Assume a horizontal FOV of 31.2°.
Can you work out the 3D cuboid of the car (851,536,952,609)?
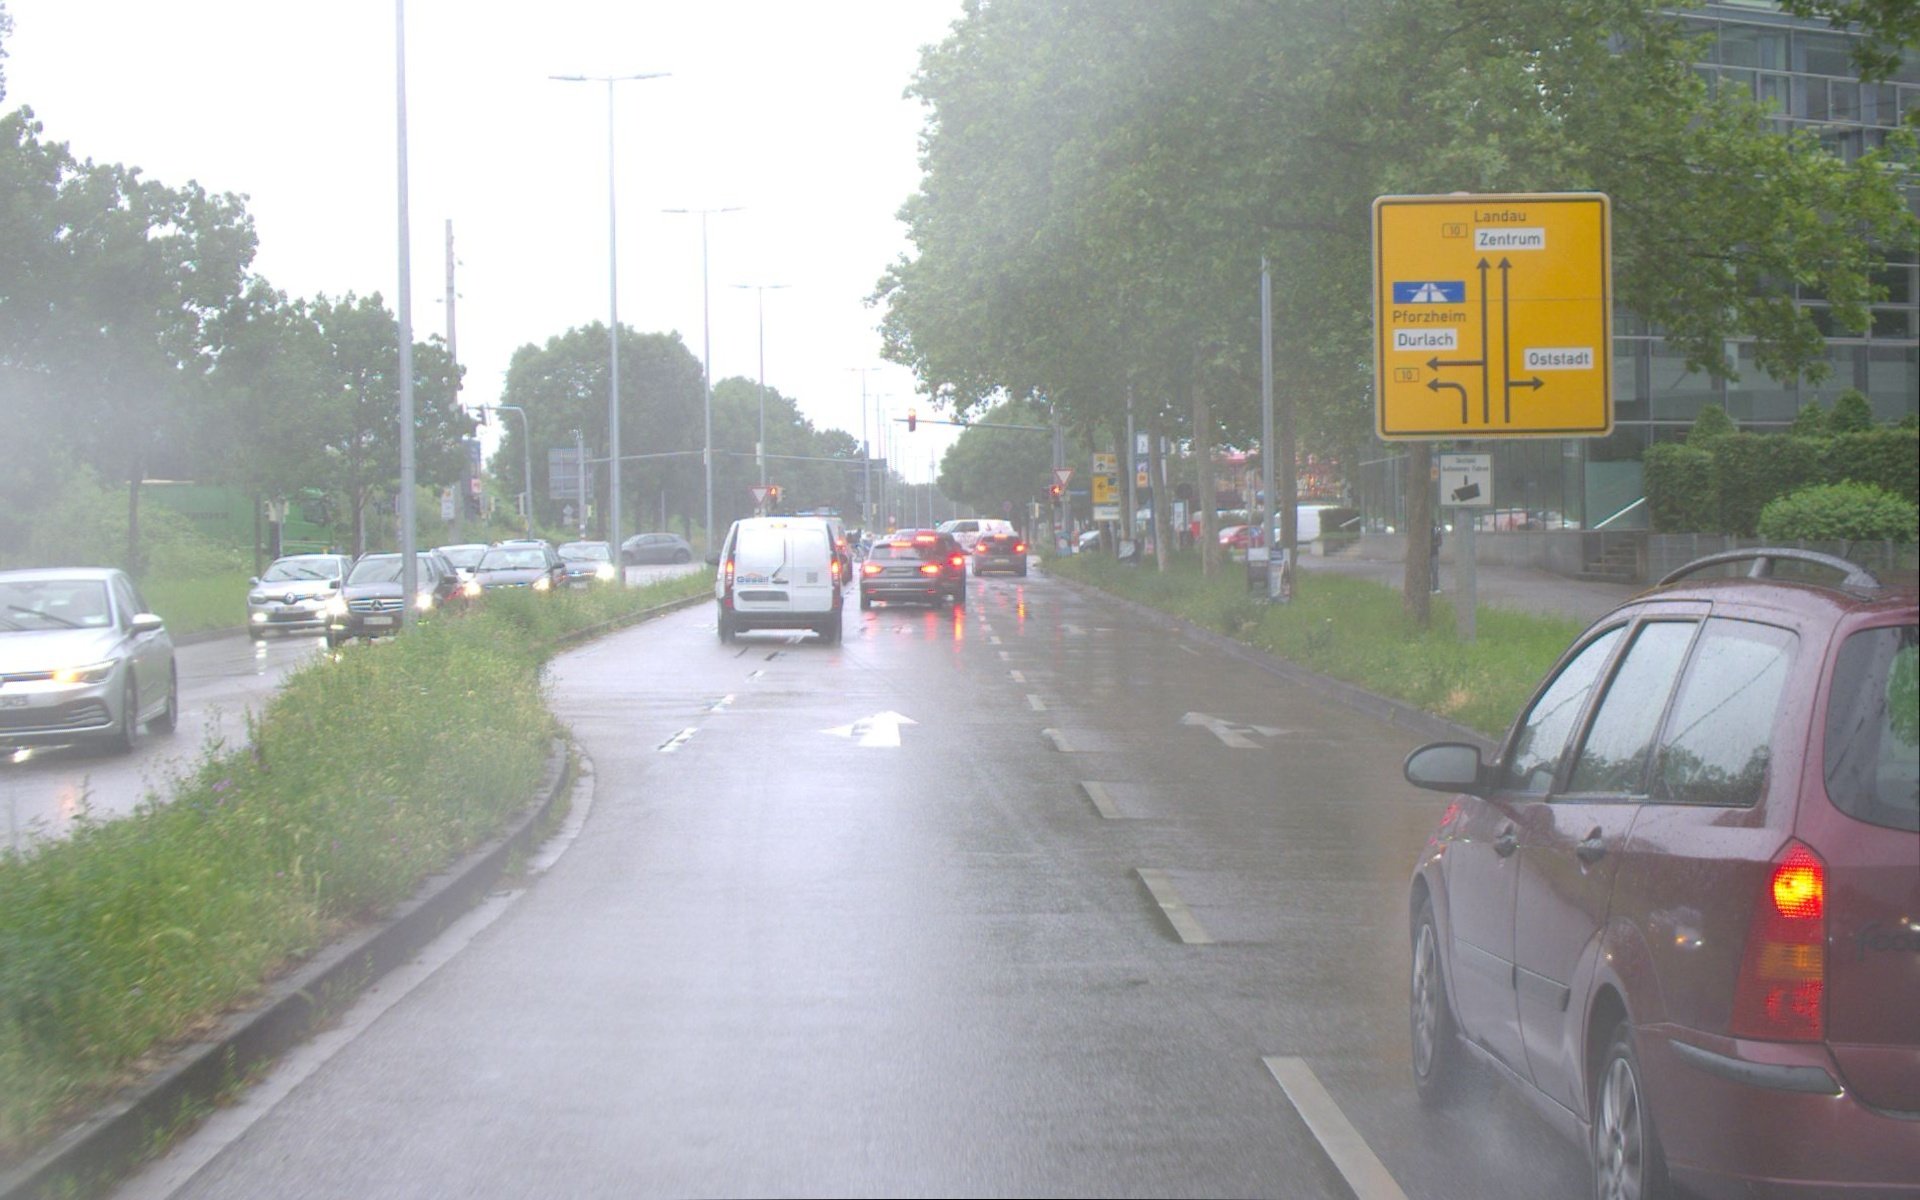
[{"bbox_3d":[-1.231,-0.569,70.626,1.993,1.447,4.000,0,1,-2],"label":"car"}]

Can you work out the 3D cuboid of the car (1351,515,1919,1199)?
[{"bbox_3d":[2.102,0.613,7.826,1.839,1.531,4.112,1,0,-1],"label":"car"}]

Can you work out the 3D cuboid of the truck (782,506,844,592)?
[{"bbox_3d":[-4.255,-1.470,99.950,1.756,2.458,4.000,0,1,-2],"label":"truck"}]

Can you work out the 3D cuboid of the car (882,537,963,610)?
[{"bbox_3d":[-0.859,-0.618,76.827,1.708,1.544,4.001,0,2,-2],"label":"car"}]

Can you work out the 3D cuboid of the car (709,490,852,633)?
[{"bbox_3d":[-2.596,-0.519,50.378,1.993,2.007,4.000,0,-1,-2],"label":"car"}]

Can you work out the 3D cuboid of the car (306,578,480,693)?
[{"bbox_3d":[-8.878,0.525,54.185,1.908,1.569,4.709,-4,1,0],"label":"car"}]

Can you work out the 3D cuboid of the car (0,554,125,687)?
[{"bbox_3d":[-11.630,0.234,41.840,1.835,1.497,4.440,-2,1,0],"label":"car"}]

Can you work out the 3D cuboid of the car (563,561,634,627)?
[{"bbox_3d":[-9.098,-0.167,86.797,1.720,1.612,4.347,0,1,-5],"label":"car"}]

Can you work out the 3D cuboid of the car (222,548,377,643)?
[{"bbox_3d":[-12.157,-0.124,63.554,1.908,1.569,4.709,-4,1,0],"label":"car"}]

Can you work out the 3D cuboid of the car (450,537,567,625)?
[{"bbox_3d":[-9.099,-0.412,69.625,1.824,1.569,4.360,1,3,0],"label":"car"}]

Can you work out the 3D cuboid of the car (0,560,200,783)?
[{"bbox_3d":[-7.303,0.513,27.154,1.908,1.569,4.710,-3,1,-5],"label":"car"}]

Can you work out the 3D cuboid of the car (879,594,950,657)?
[{"bbox_3d":[-1.110,0.605,85.019,1.711,1.440,4.000,0,1,0],"label":"car"}]

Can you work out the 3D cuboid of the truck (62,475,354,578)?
[{"bbox_3d":[-27.042,-2.599,123.990,10.110,3.440,2.658,1,-1,-37],"label":"truck"}]
